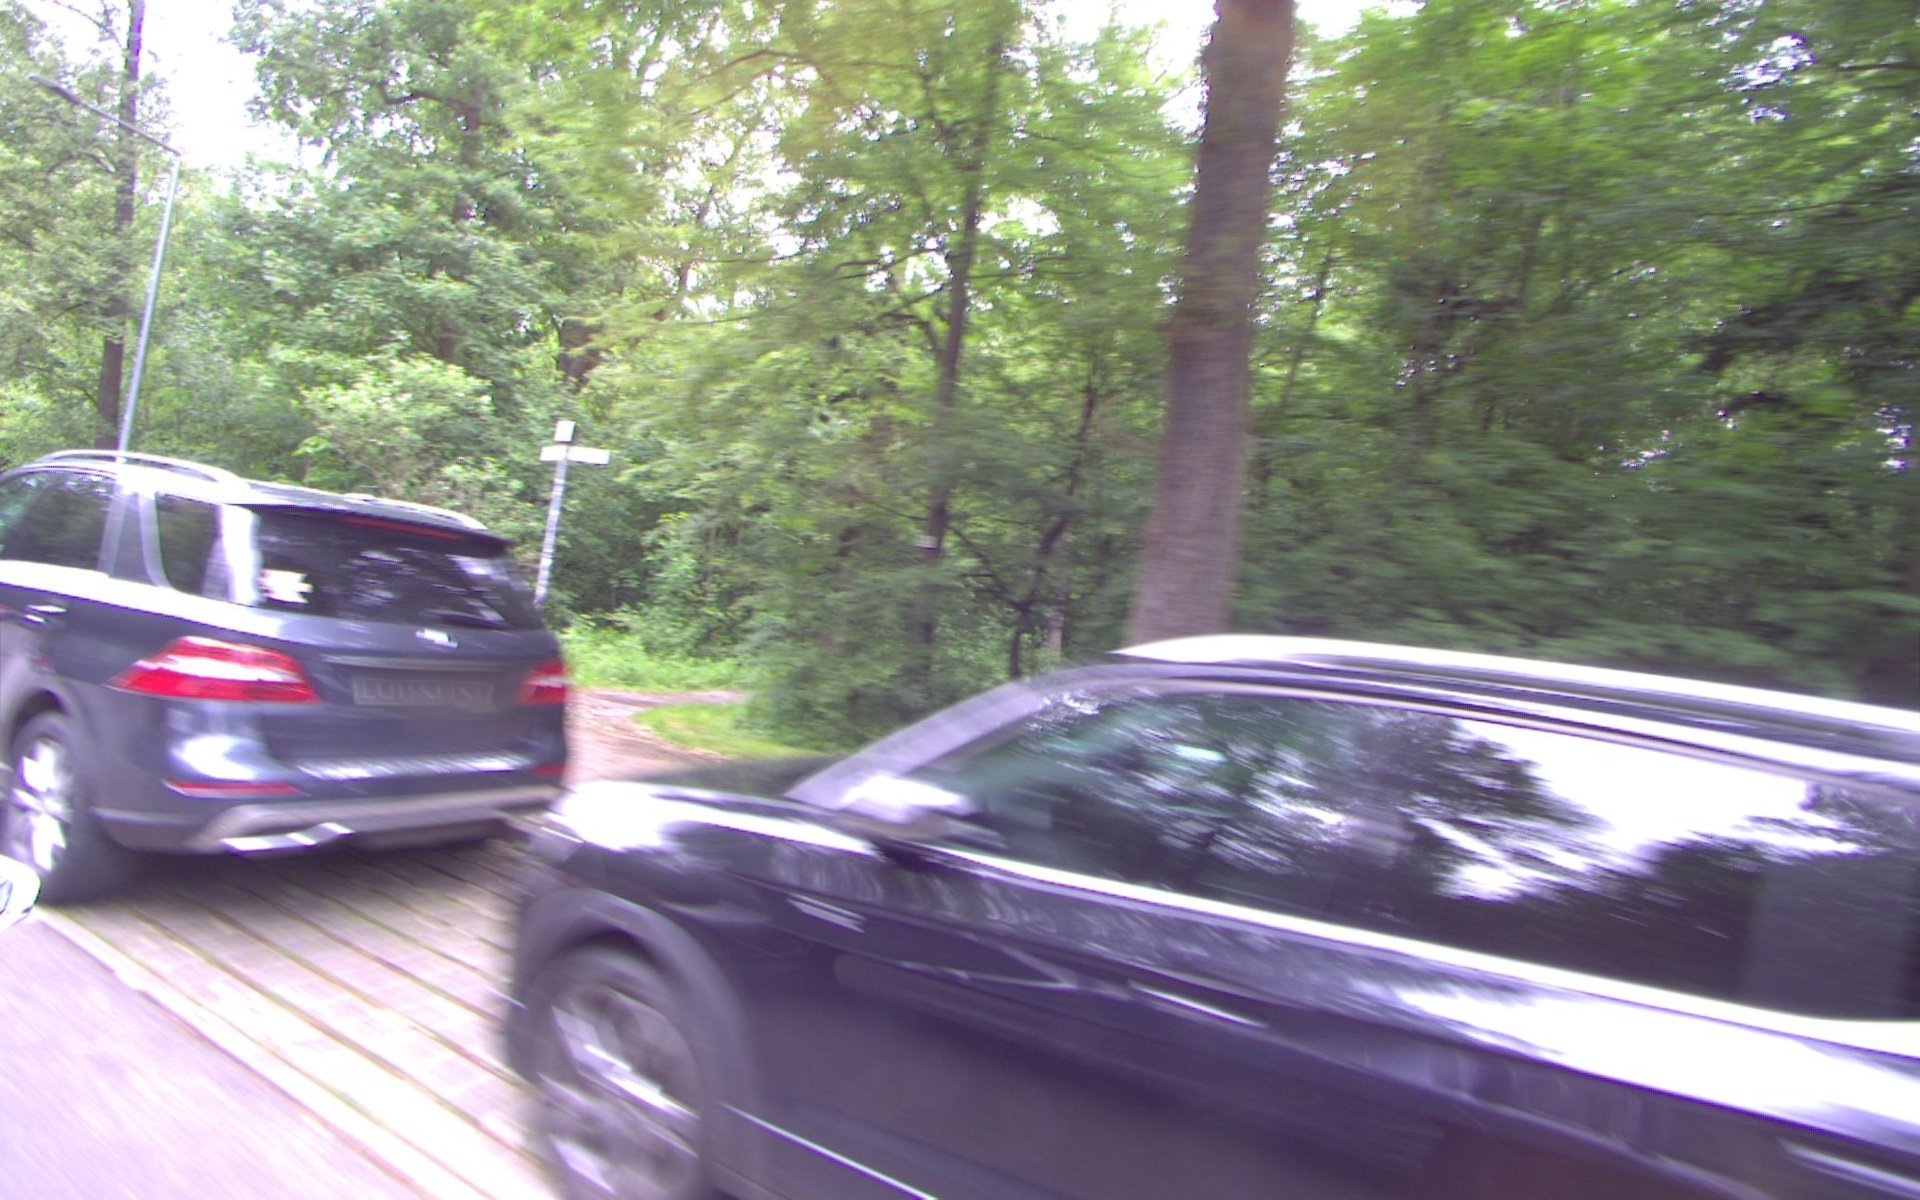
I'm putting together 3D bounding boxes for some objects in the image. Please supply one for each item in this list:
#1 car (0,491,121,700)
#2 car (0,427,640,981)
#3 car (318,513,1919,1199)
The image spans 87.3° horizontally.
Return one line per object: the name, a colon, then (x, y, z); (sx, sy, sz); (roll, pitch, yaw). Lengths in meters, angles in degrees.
car: (-8.831, -0.263, 8.248); (4.021, 1.521, 1.602); (7, -1, 30)
car: (-4.219, 0.184, 5.299); (4.864, 1.767, 1.894); (7, -1, 30)
car: (0.607, 0.886, 2.481); (4.371, 1.626, 1.755); (7, -1, 30)
